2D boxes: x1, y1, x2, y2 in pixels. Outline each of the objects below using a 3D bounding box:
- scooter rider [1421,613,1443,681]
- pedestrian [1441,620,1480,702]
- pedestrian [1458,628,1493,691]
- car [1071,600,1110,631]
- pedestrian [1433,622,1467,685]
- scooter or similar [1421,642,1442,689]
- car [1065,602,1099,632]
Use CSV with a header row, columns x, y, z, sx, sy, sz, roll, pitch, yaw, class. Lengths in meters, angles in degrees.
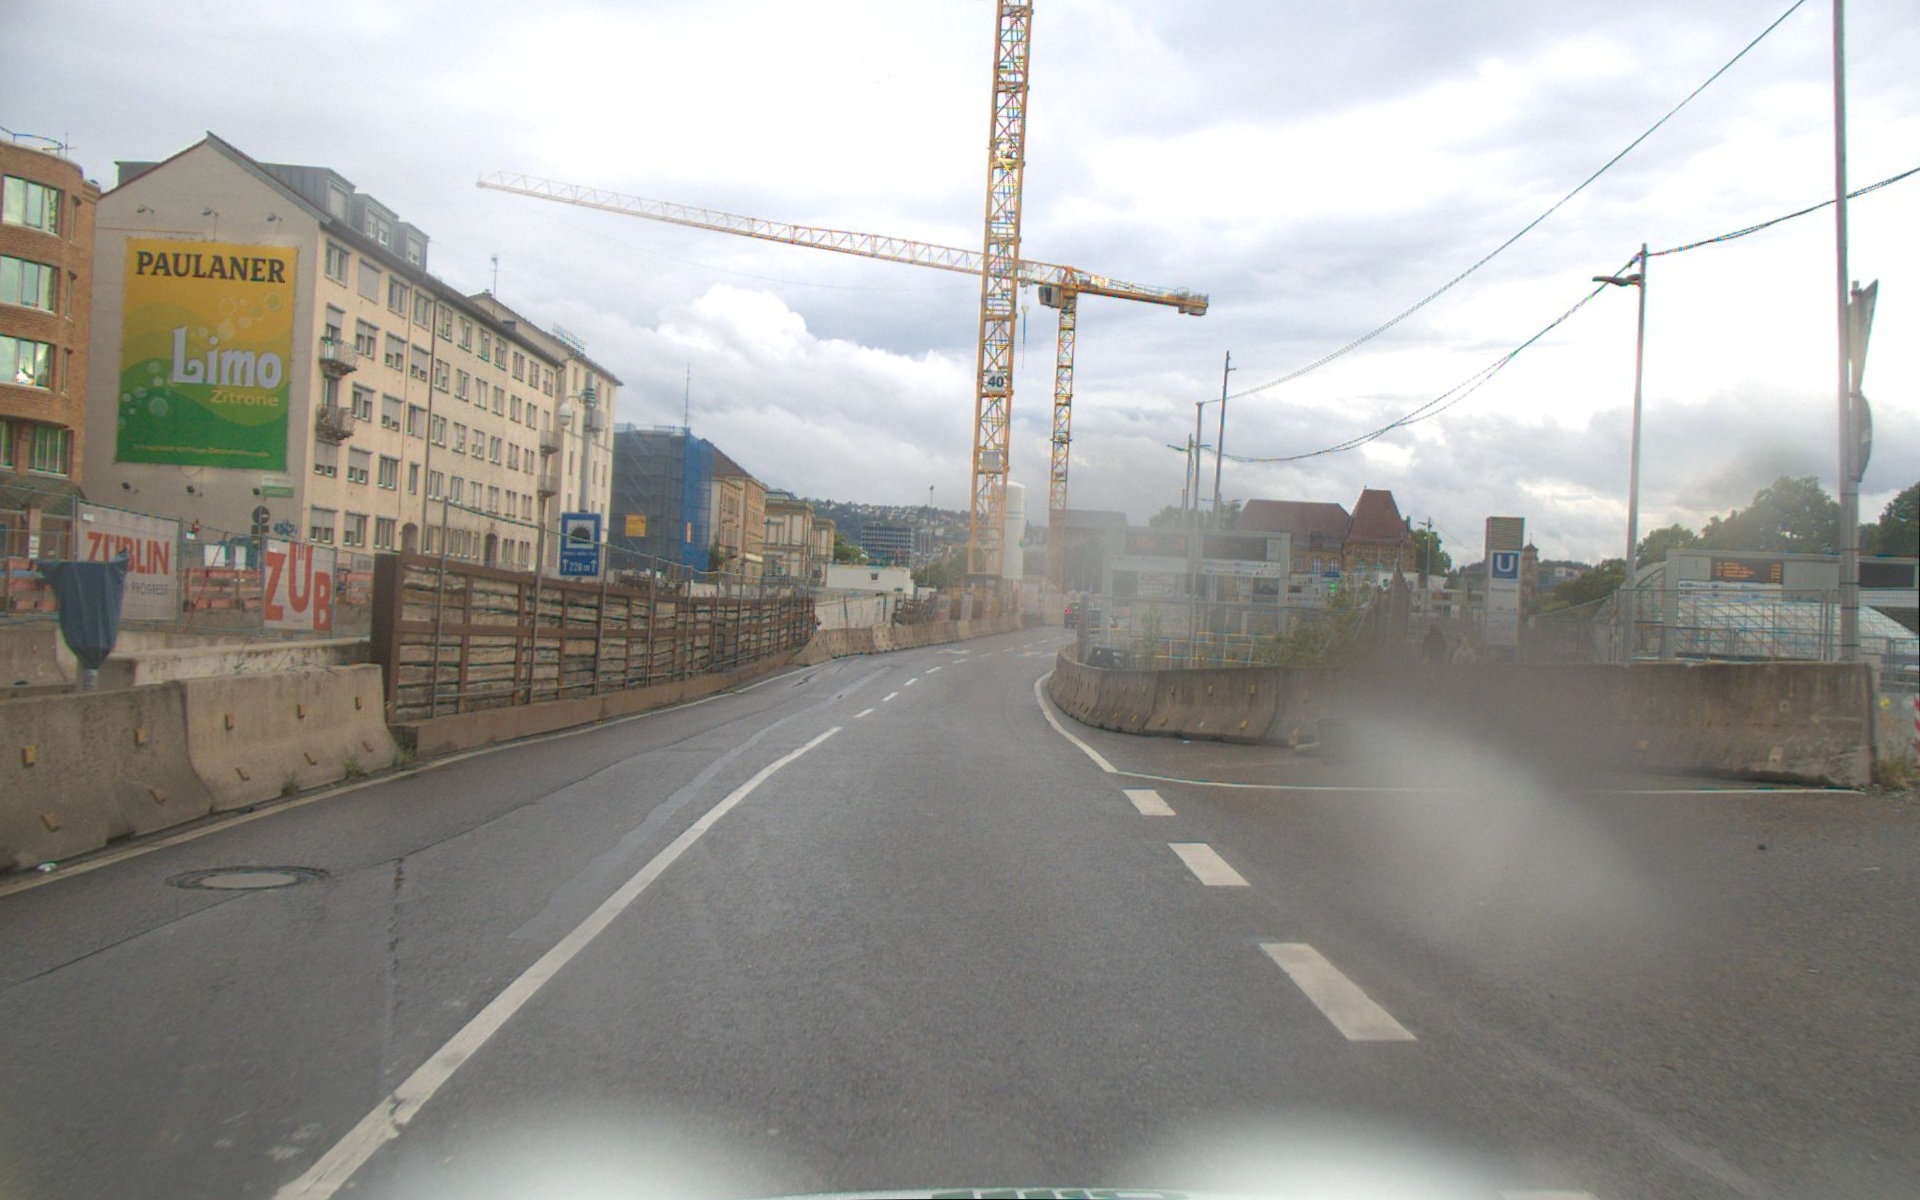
x,y,z,sx,sy,sz,roll,pitch,yaw,class
12.705,1.252,44.529,0.510,1.786,0.700,2,0,18,scooter rider
11.297,1.360,37.327,0.675,1.809,0.816,2,-1,7,pedestrian
15.075,1.727,48.379,0.711,1.809,1.023,2,-1,2,pedestrian
6.550,0.763,82.772,1.823,1.458,4.659,1,-1,5,car
14.354,1.556,48.441,0.675,1.809,1.023,2,-1,2,pedestrian
12.688,1.763,44.532,0.480,1.200,1.096,2,0,18,scooter or similar
7.564,1.041,102.264,1.824,1.689,4.659,3,0,6,car
